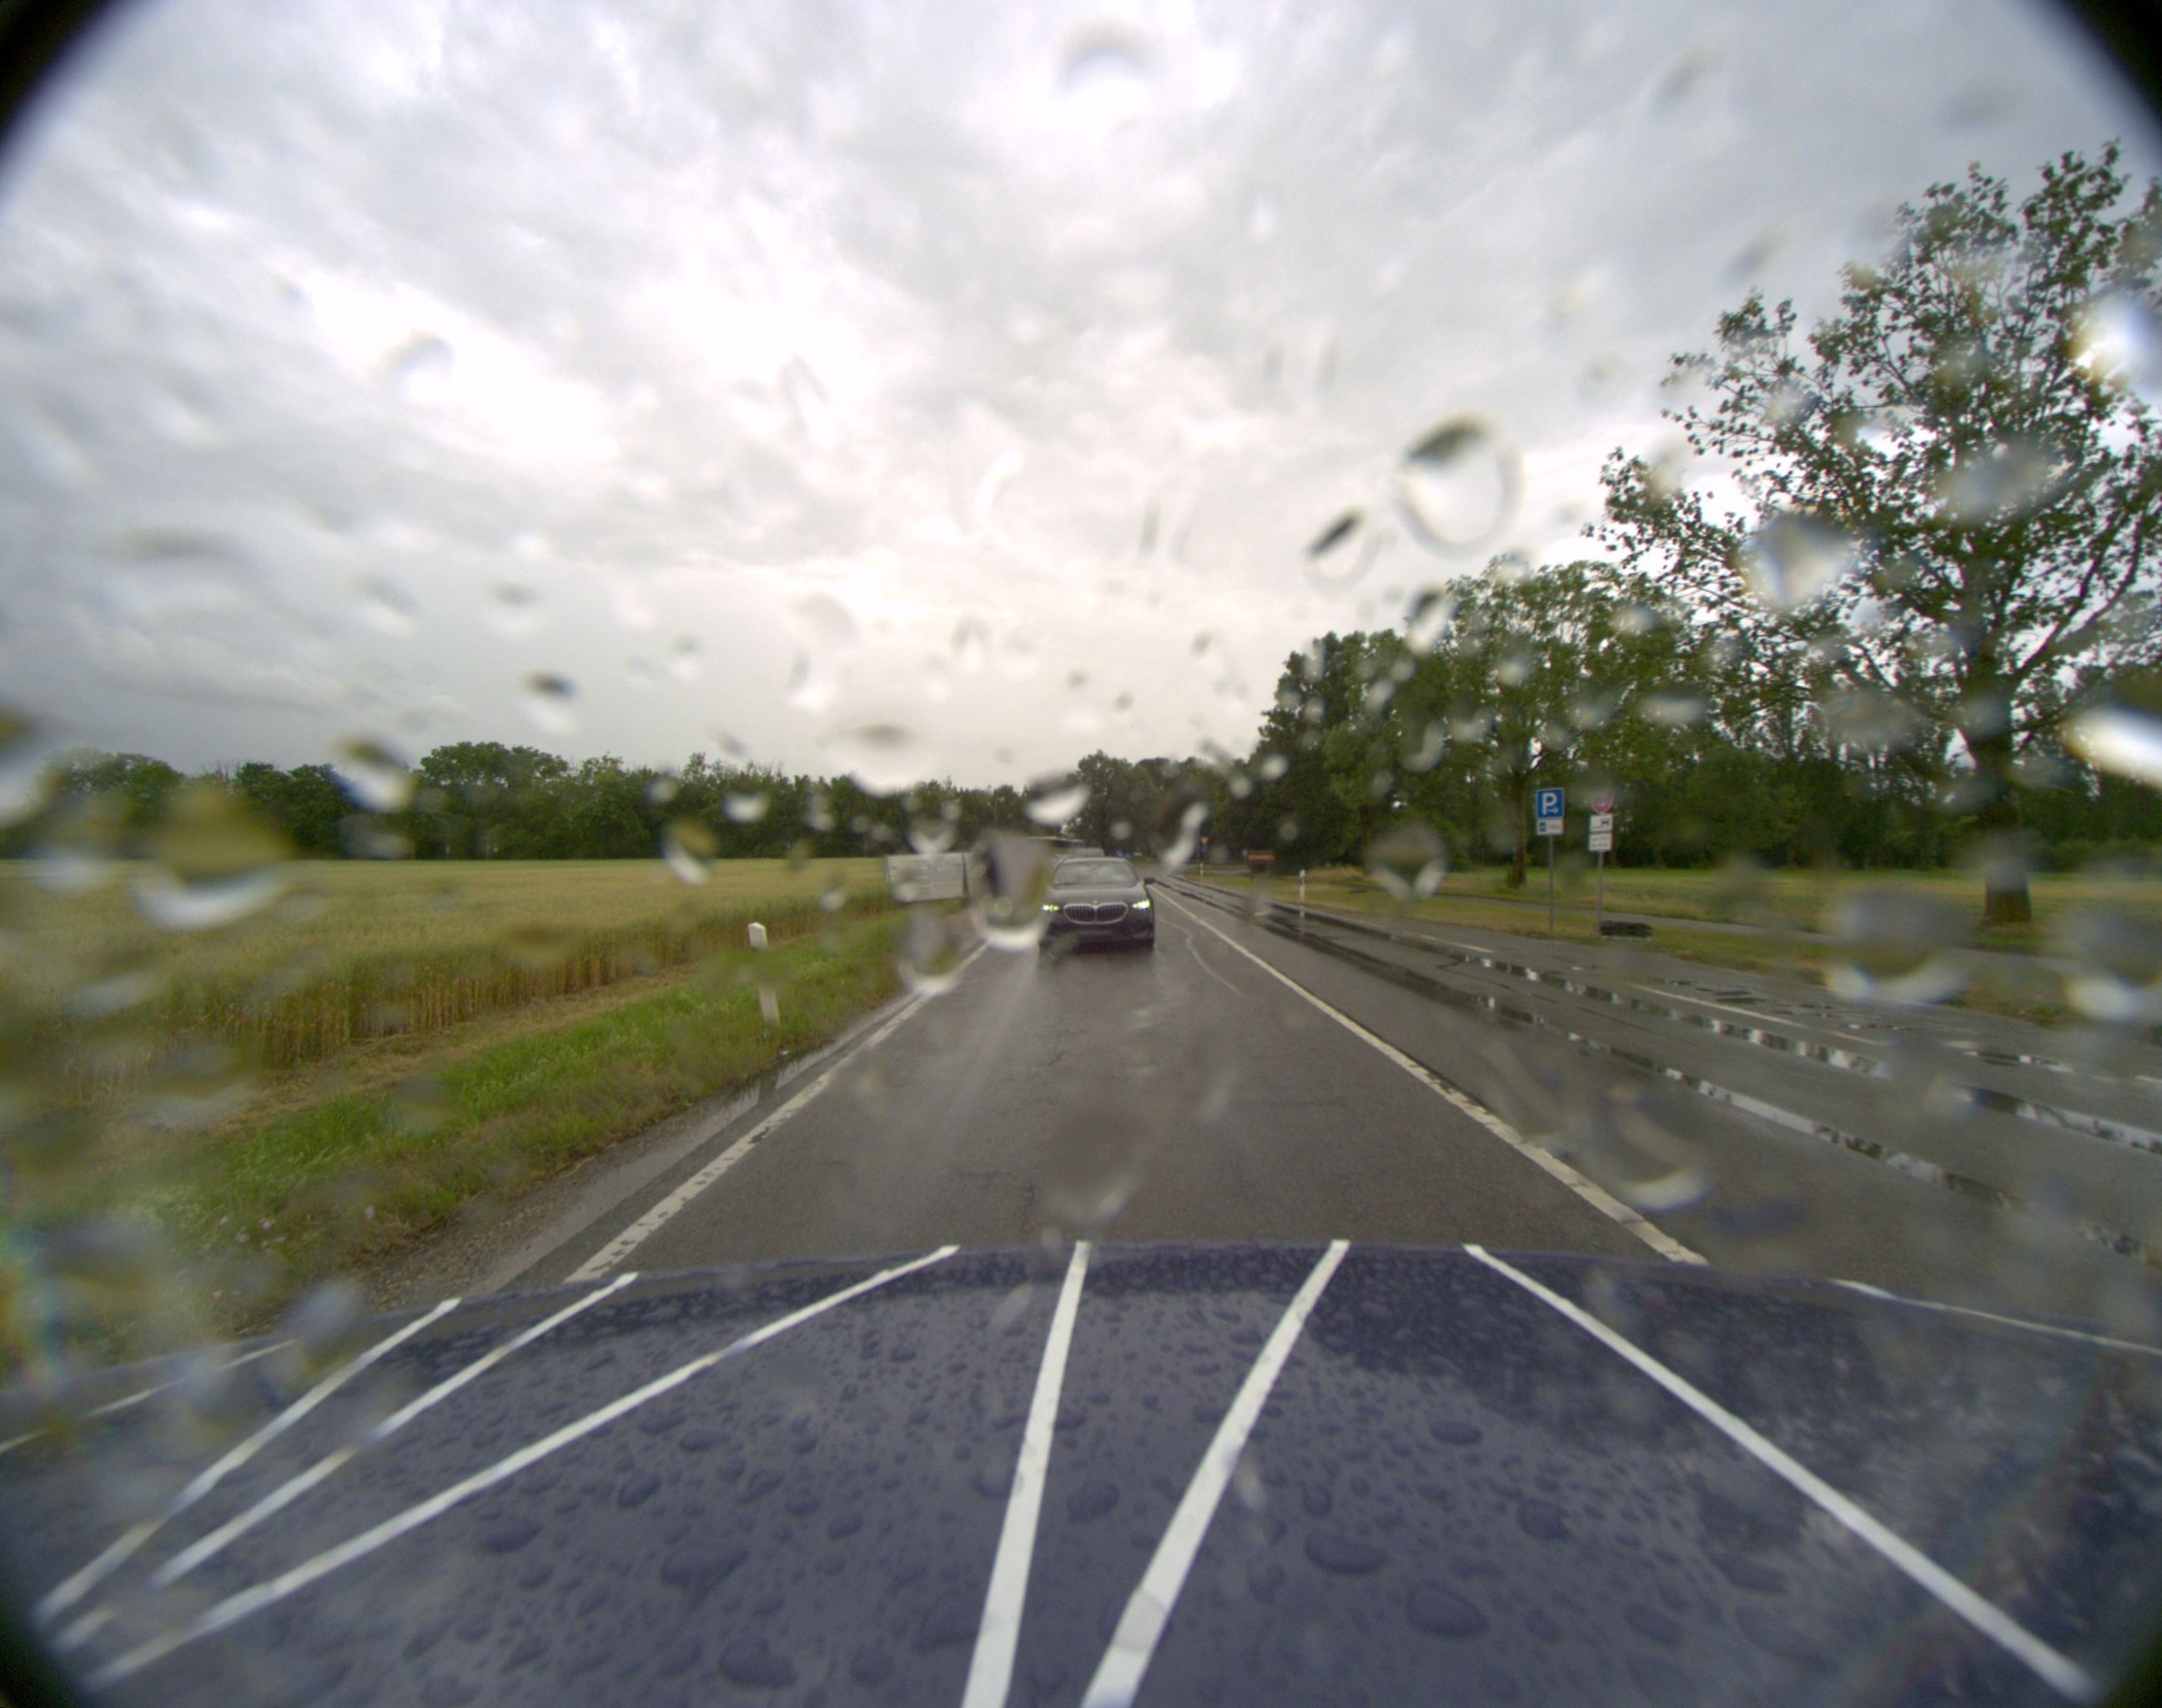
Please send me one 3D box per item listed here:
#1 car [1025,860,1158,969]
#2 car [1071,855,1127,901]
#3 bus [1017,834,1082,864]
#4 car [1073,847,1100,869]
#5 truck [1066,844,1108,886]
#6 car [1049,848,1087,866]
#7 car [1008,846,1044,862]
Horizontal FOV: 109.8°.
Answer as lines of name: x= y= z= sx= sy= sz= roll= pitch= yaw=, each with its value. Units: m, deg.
car: x=0.192 y=0.891 z=13.013 sx=1.891 sy=1.484 sz=4.035 roll=-1 pitch=0 yaw=1
car: x=0.604 y=0.844 z=28.655 sx=1.892 sy=1.482 sz=4.190 roll=-2 pitch=1 yaw=-1
bus: x=-3.874 y=-0.677 z=99.186 sx=2.991 sy=3.665 sz=14.316 roll=1 pitch=1 yaw=21
car: x=0.360 y=0.274 z=58.114 sx=1.892 sy=1.522 sz=5.254 roll=-1 pitch=0 yaw=-2
truck: x=0.279 y=0.528 z=42.750 sx=2.076 sy=2.050 sz=5.767 roll=-3 pitch=1 yaw=-1
car: x=-1.198 y=0.285 z=67.069 sx=1.895 sy=1.522 sz=4.494 roll=-2 pitch=0 yaw=-21
car: x=-5.509 y=-0.012 z=75.783 sx=1.896 sy=1.522 sz=4.492 roll=-2 pitch=0 yaw=-28
